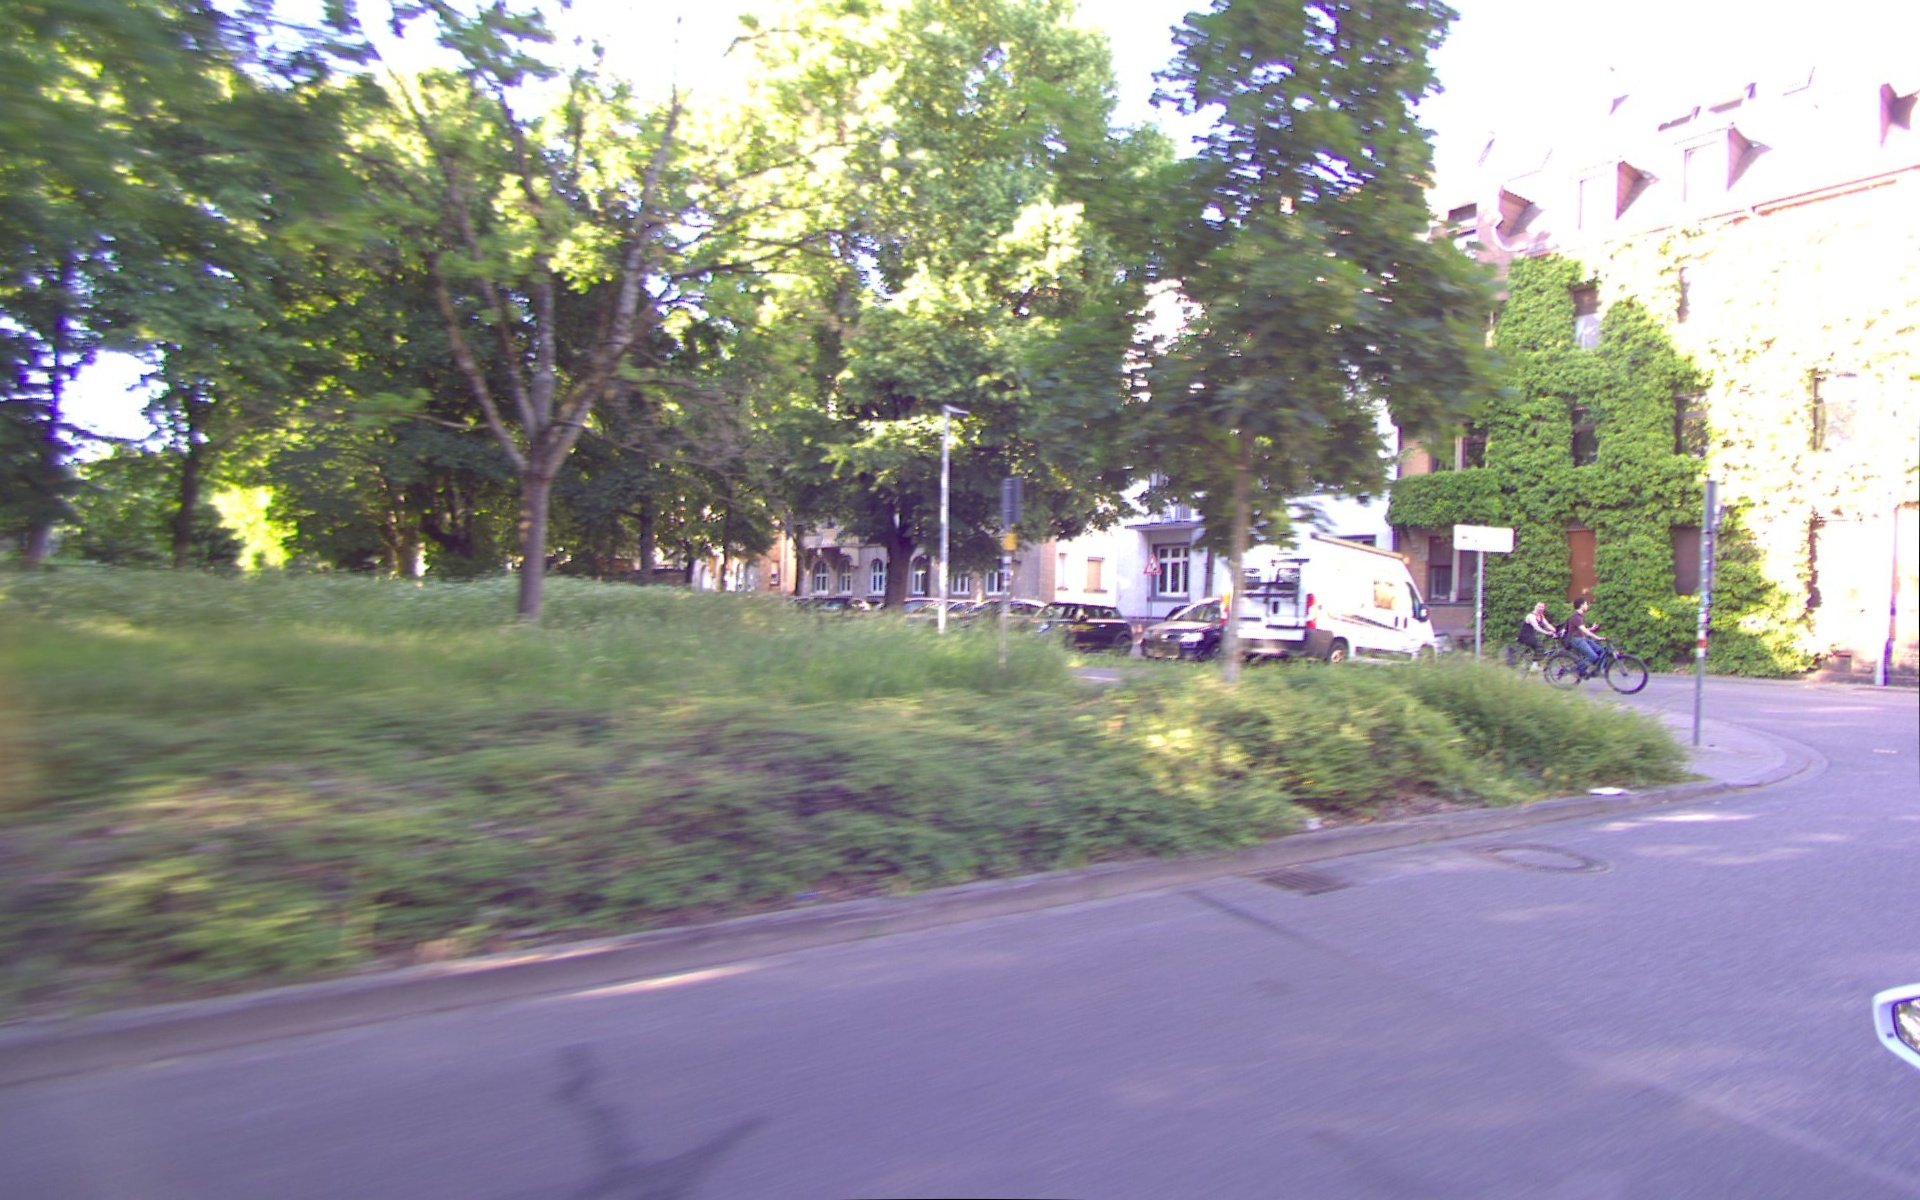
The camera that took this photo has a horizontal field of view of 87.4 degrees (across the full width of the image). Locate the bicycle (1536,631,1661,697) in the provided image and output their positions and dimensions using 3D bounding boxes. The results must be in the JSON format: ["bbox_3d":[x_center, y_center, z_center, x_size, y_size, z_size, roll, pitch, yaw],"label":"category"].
[{"bbox_3d":[12.264,1.204,19.354,0.552,1.087,1.947,-1,3,-38],"label":"bicycle"}]

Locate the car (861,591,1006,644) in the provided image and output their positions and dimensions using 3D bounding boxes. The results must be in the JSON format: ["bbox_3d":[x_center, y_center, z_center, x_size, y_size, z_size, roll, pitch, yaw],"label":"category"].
[{"bbox_3d":[-0.746,0.528,29.395,3.848,1.396,1.956,2,1,-39],"label":"car"}]

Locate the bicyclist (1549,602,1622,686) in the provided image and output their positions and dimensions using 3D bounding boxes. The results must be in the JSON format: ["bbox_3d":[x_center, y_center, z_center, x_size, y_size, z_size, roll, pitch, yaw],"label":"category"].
[{"bbox_3d":[12.127,0.831,19.484,0.714,1.547,0.961,2,1,-38],"label":"bicyclist"}]

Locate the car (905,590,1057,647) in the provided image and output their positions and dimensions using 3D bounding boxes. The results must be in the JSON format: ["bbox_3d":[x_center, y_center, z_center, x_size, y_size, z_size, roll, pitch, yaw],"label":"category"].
[{"bbox_3d":[0.618,0.501,27.681,3.848,1.461,1.956,2,0,-39],"label":"car"}]

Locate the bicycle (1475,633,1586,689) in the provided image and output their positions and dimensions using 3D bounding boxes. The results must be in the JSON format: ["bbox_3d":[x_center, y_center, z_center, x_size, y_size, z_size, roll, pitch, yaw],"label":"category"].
[{"bbox_3d":[12.097,1.270,21.362,0.693,1.087,1.944,2,-1,-43],"label":"bicycle"}]

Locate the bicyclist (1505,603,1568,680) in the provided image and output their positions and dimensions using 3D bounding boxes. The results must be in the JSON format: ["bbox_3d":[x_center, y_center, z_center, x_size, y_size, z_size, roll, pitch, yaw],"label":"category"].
[{"bbox_3d":[12.206,0.865,21.271,0.704,1.547,0.959,2,1,-44],"label":"bicyclist"}]

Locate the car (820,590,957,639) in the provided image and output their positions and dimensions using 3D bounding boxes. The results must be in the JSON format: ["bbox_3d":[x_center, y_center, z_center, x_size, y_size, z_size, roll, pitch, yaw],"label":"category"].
[{"bbox_3d":[-2.197,0.465,31.395,3.848,1.396,1.956,2,1,-39],"label":"car"}]

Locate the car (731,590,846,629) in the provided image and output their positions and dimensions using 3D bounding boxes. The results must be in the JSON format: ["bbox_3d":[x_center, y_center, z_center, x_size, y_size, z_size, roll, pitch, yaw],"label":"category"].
[{"bbox_3d":[-6.321,0.359,37.225,3.848,1.273,1.765,2,1,-39],"label":"car"}]

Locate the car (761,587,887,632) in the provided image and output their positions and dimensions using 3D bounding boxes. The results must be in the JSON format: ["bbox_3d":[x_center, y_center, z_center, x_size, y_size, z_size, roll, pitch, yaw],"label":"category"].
[{"bbox_3d":[-4.689,0.325,34.787,3.848,1.396,1.956,2,1,-39],"label":"car"}]

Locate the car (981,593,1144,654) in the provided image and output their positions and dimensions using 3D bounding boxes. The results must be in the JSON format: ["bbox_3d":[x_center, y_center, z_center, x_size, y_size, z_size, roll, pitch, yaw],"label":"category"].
[{"bbox_3d":[2.630,0.602,25.442,3.848,1.360,1.956,2,1,-39],"label":"car"}]

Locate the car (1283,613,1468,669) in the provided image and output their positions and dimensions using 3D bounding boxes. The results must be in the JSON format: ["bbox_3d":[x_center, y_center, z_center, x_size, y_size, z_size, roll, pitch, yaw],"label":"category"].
[{"bbox_3d":[12.377,1.161,30.220,1.866,1.424,4.871,0,1,-38],"label":"car"}]

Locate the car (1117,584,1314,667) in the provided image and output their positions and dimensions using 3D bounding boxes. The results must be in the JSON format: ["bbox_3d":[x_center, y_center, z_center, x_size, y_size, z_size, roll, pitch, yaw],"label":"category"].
[{"bbox_3d":[5.600,0.541,21.819,4.263,1.596,1.956,2,1,-39],"label":"car"}]

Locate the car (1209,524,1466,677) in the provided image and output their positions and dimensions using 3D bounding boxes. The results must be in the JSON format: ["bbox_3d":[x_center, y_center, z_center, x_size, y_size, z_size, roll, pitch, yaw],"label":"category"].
[{"bbox_3d":[7.636,0.047,20.021,5.584,2.649,2.213,2,1,-39],"label":"car"}]
